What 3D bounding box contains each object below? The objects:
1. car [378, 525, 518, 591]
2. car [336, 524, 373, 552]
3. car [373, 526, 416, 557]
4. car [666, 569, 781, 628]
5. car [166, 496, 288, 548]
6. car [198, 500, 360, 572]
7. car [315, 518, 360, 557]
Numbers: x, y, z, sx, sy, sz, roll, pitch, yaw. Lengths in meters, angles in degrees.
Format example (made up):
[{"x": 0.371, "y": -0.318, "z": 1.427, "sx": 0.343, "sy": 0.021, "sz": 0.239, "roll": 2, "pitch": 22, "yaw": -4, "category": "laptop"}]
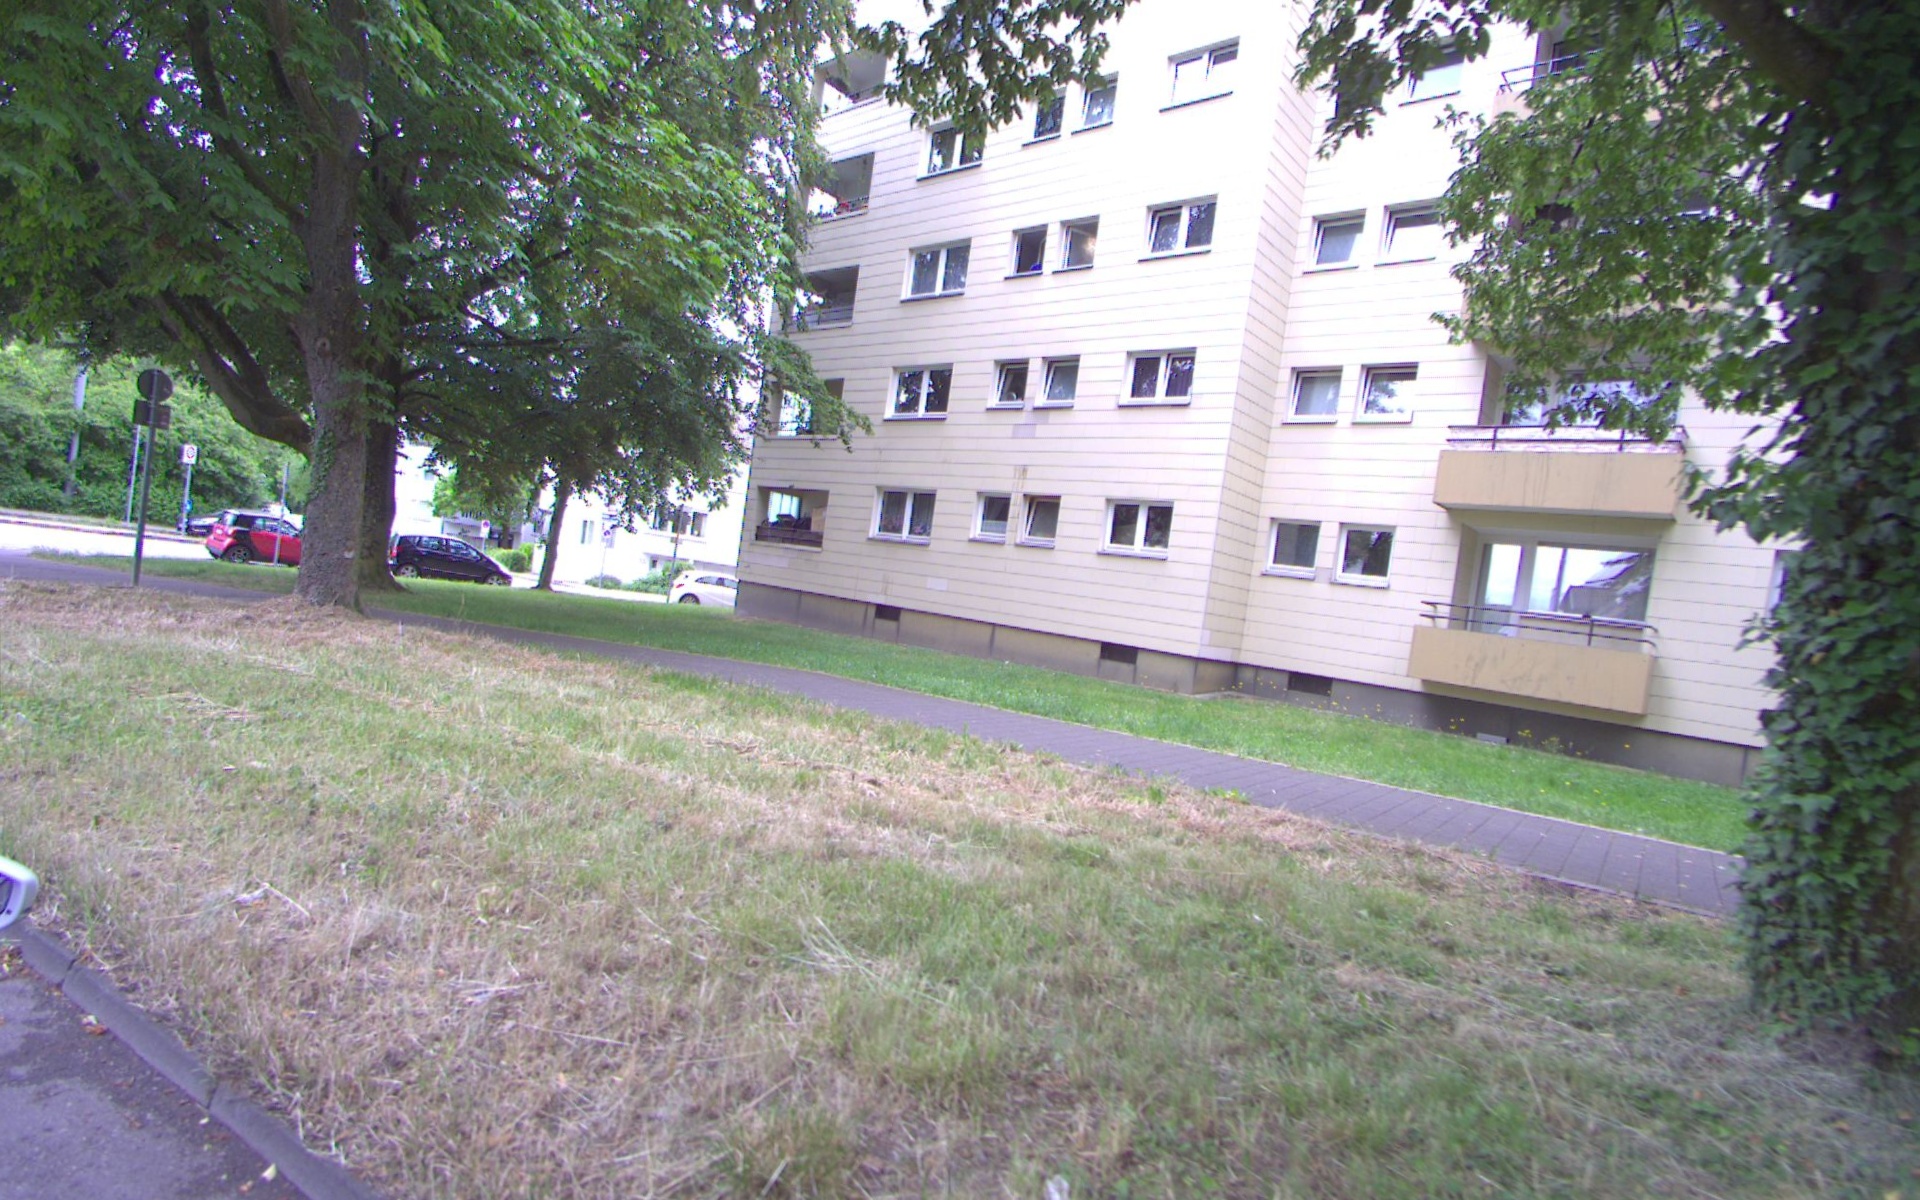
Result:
[{"x": -16.680, "y": -1.346, "z": 32.824, "sx": 3.816, "sy": 1.631, "sz": 1.712, "roll": 6, "pitch": 1, "yaw": -34, "category": "car"}, {"x": -44.194, "y": -4.536, "z": 73.363, "sx": 1.714, "sy": 1.631, "sz": 3.811, "roll": 6, "pitch": 1, "yaw": -39, "category": "car"}, {"x": -36.290, "y": -3.786, "z": 64.572, "sx": 1.714, "sy": 1.631, "sz": 3.811, "roll": 6, "pitch": 1, "yaw": -39, "category": "car"}, {"x": -8.565, "y": -0.056, "z": 36.360, "sx": 3.797, "sy": 1.631, "sz": 1.720, "roll": 7, "pitch": 1, "yaw": -19, "category": "car"}, {"x": -29.156, "y": -3.077, "z": 40.108, "sx": 1.702, "sy": 1.549, "sz": 3.516, "roll": 8, "pitch": 1, "yaw": 37, "category": "car"}, {"x": -20.100, "y": -1.869, "z": 29.788, "sx": 1.701, "sy": 1.631, "sz": 3.517, "roll": 8, "pitch": 1, "yaw": 36, "category": "car"}, {"x": -30.799, "y": -3.132, "z": 49.830, "sx": 1.709, "sy": 1.631, "sz": 3.822, "roll": 6, "pitch": 1, "yaw": -31, "category": "car"}]
